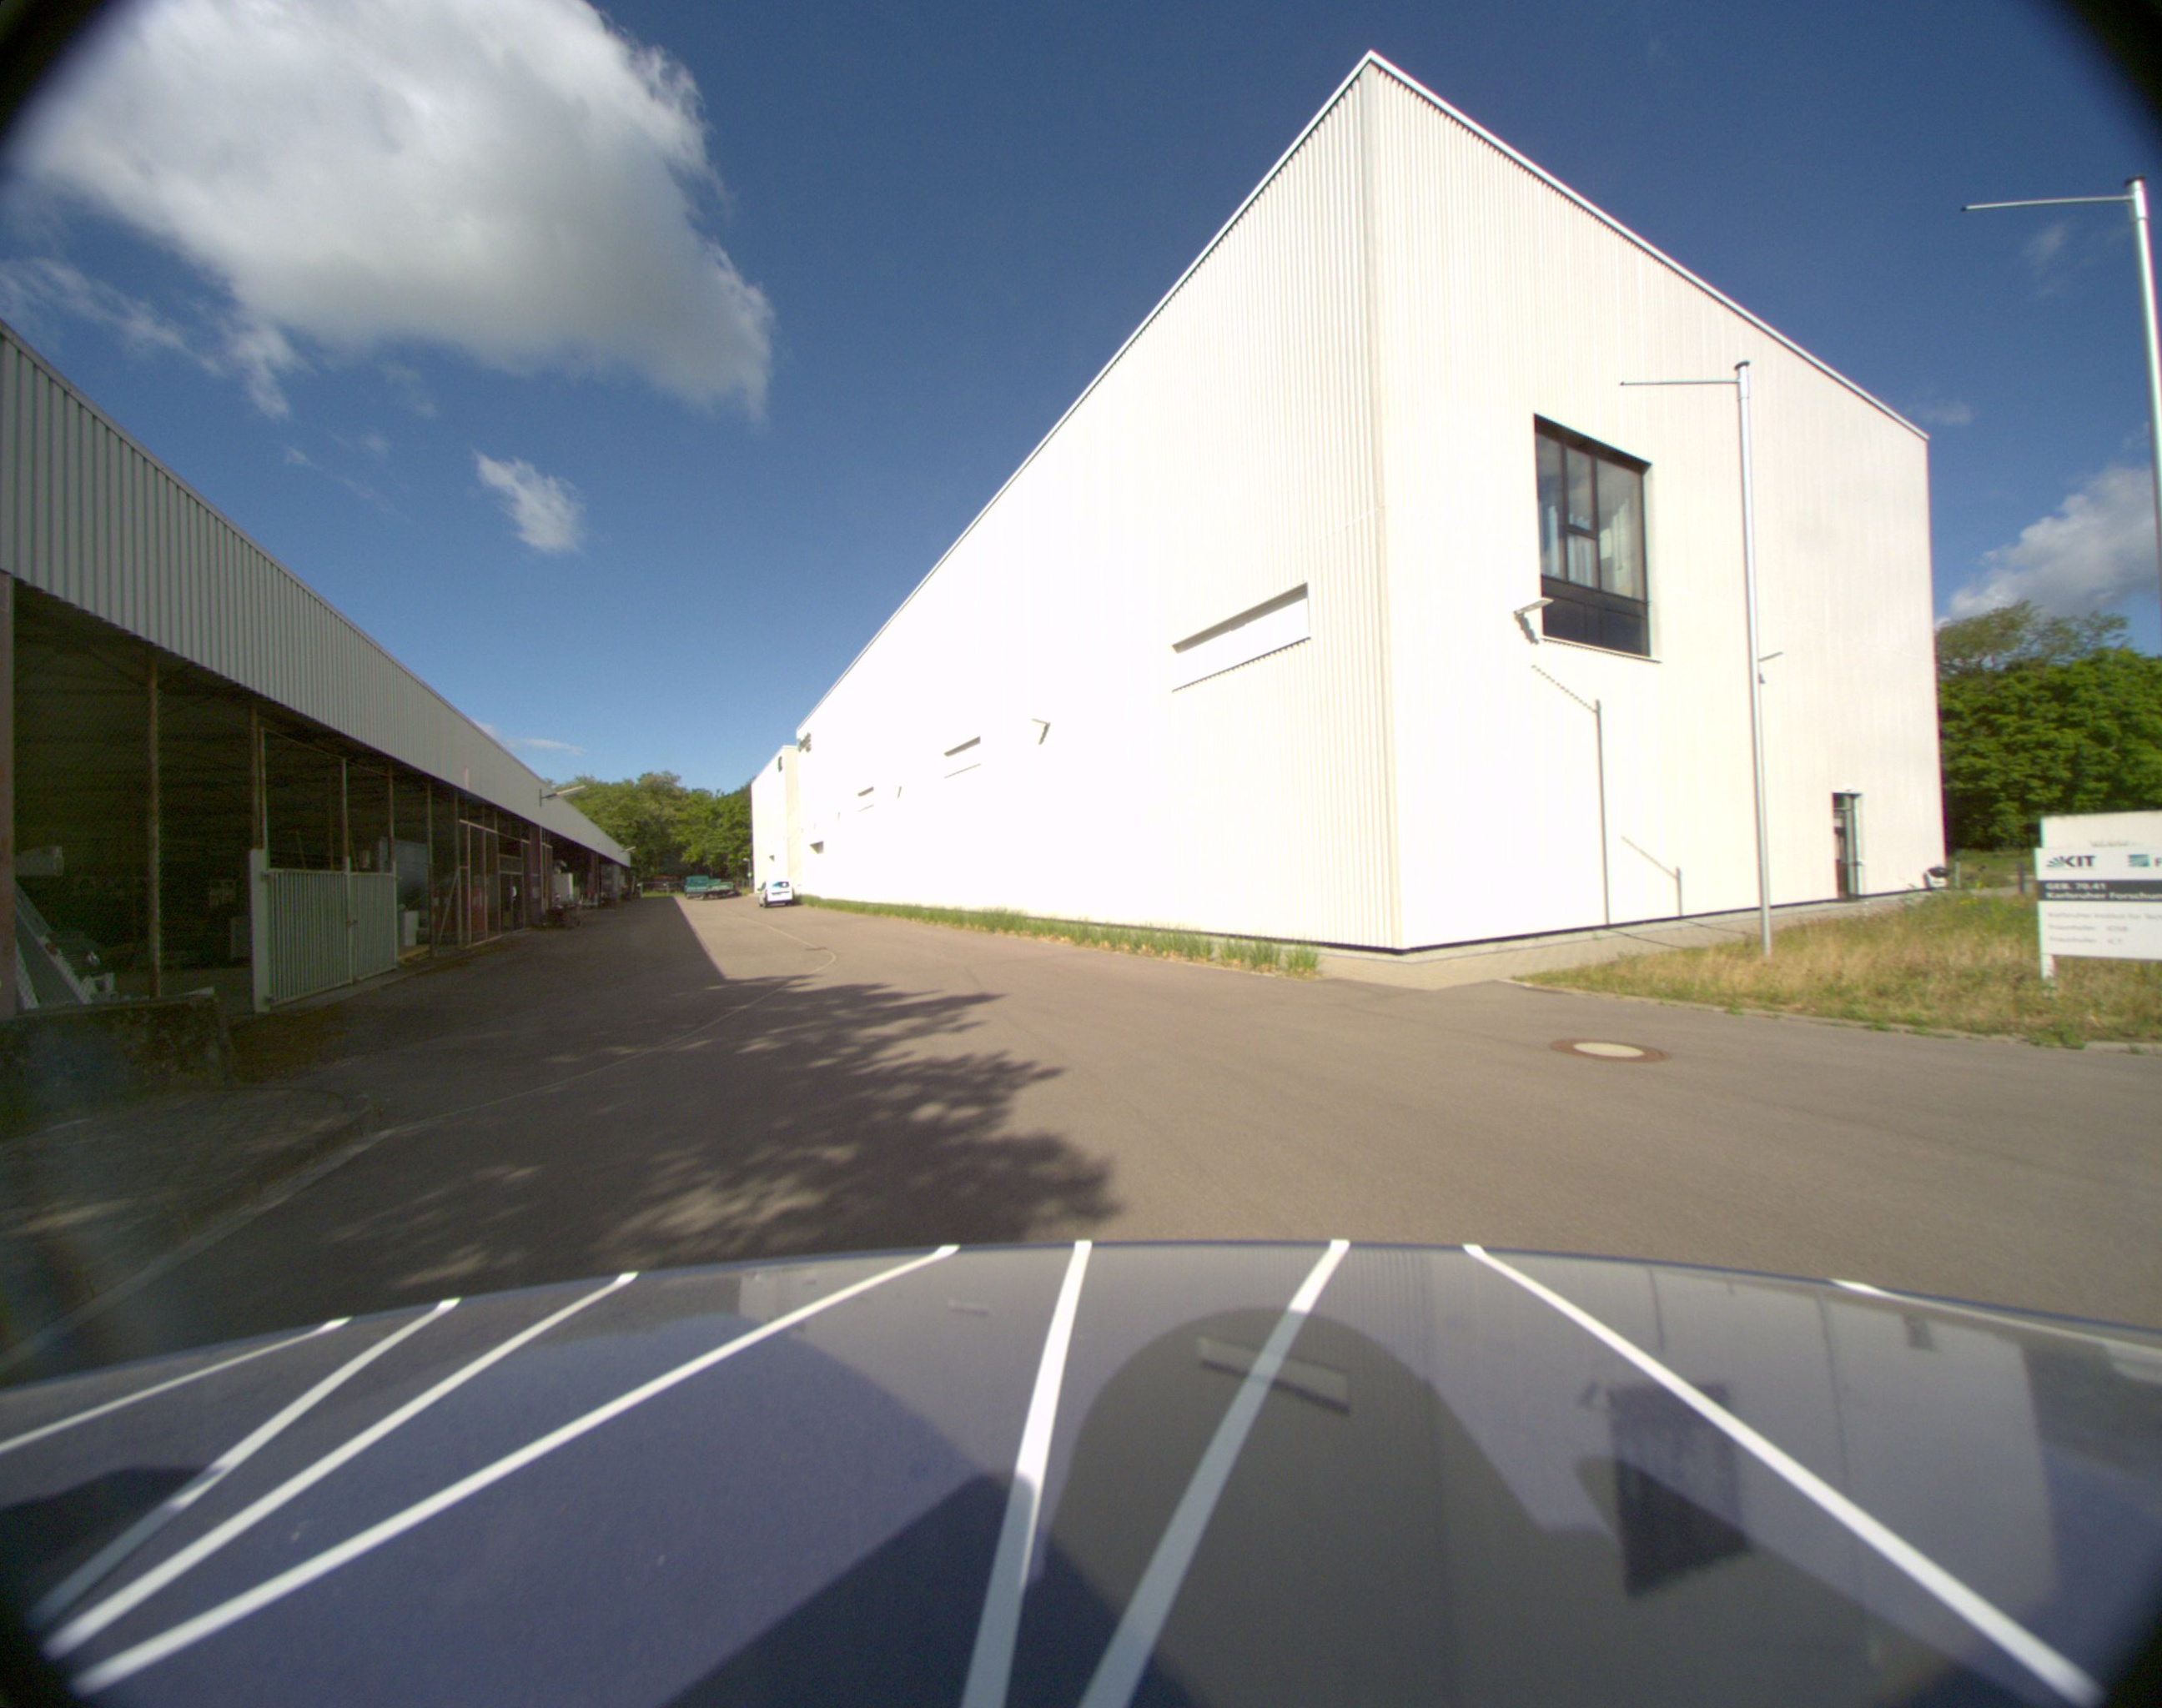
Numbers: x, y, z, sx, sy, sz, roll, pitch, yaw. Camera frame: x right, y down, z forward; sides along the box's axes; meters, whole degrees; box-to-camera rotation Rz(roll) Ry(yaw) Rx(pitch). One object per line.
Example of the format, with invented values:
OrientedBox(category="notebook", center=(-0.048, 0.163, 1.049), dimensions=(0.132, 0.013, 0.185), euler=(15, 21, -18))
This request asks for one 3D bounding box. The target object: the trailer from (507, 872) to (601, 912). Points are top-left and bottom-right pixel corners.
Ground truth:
OrientedBox(category="trailer", center=(-32.246, 2.299, 46.665), dimensions=(4.564, 2.320, 1.685), euler=(1, -2, -28))

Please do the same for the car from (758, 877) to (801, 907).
OrientedBox(category="car", center=(-19.632, 2.420, 49.370), dimensions=(1.937, 1.779, 4.588), euler=(-3, 0, -29))

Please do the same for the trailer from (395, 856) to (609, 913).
OrientedBox(category="trailer", center=(-35.783, 1.859, 47.615), dimensions=(10.343, 3.275, 2.670), euler=(1, -2, -28))

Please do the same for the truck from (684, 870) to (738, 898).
OrientedBox(category="truck", center=(-40.158, 3.308, 82.245), dimensions=(2.594, 2.701, 9.671), euler=(-4, 0, -41))

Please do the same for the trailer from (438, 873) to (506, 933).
OrientedBox(category="trailer", center=(-23.129, 1.783, 28.974), dimensions=(1.585, 2.130, 3.513), euler=(0, -2, -31))

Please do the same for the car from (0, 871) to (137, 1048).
OrientedBox(category="car", center=(-14.253, 1.201, 7.836), dimensions=(5.191, 1.907, 2.273), euler=(-1, -1, -34))
